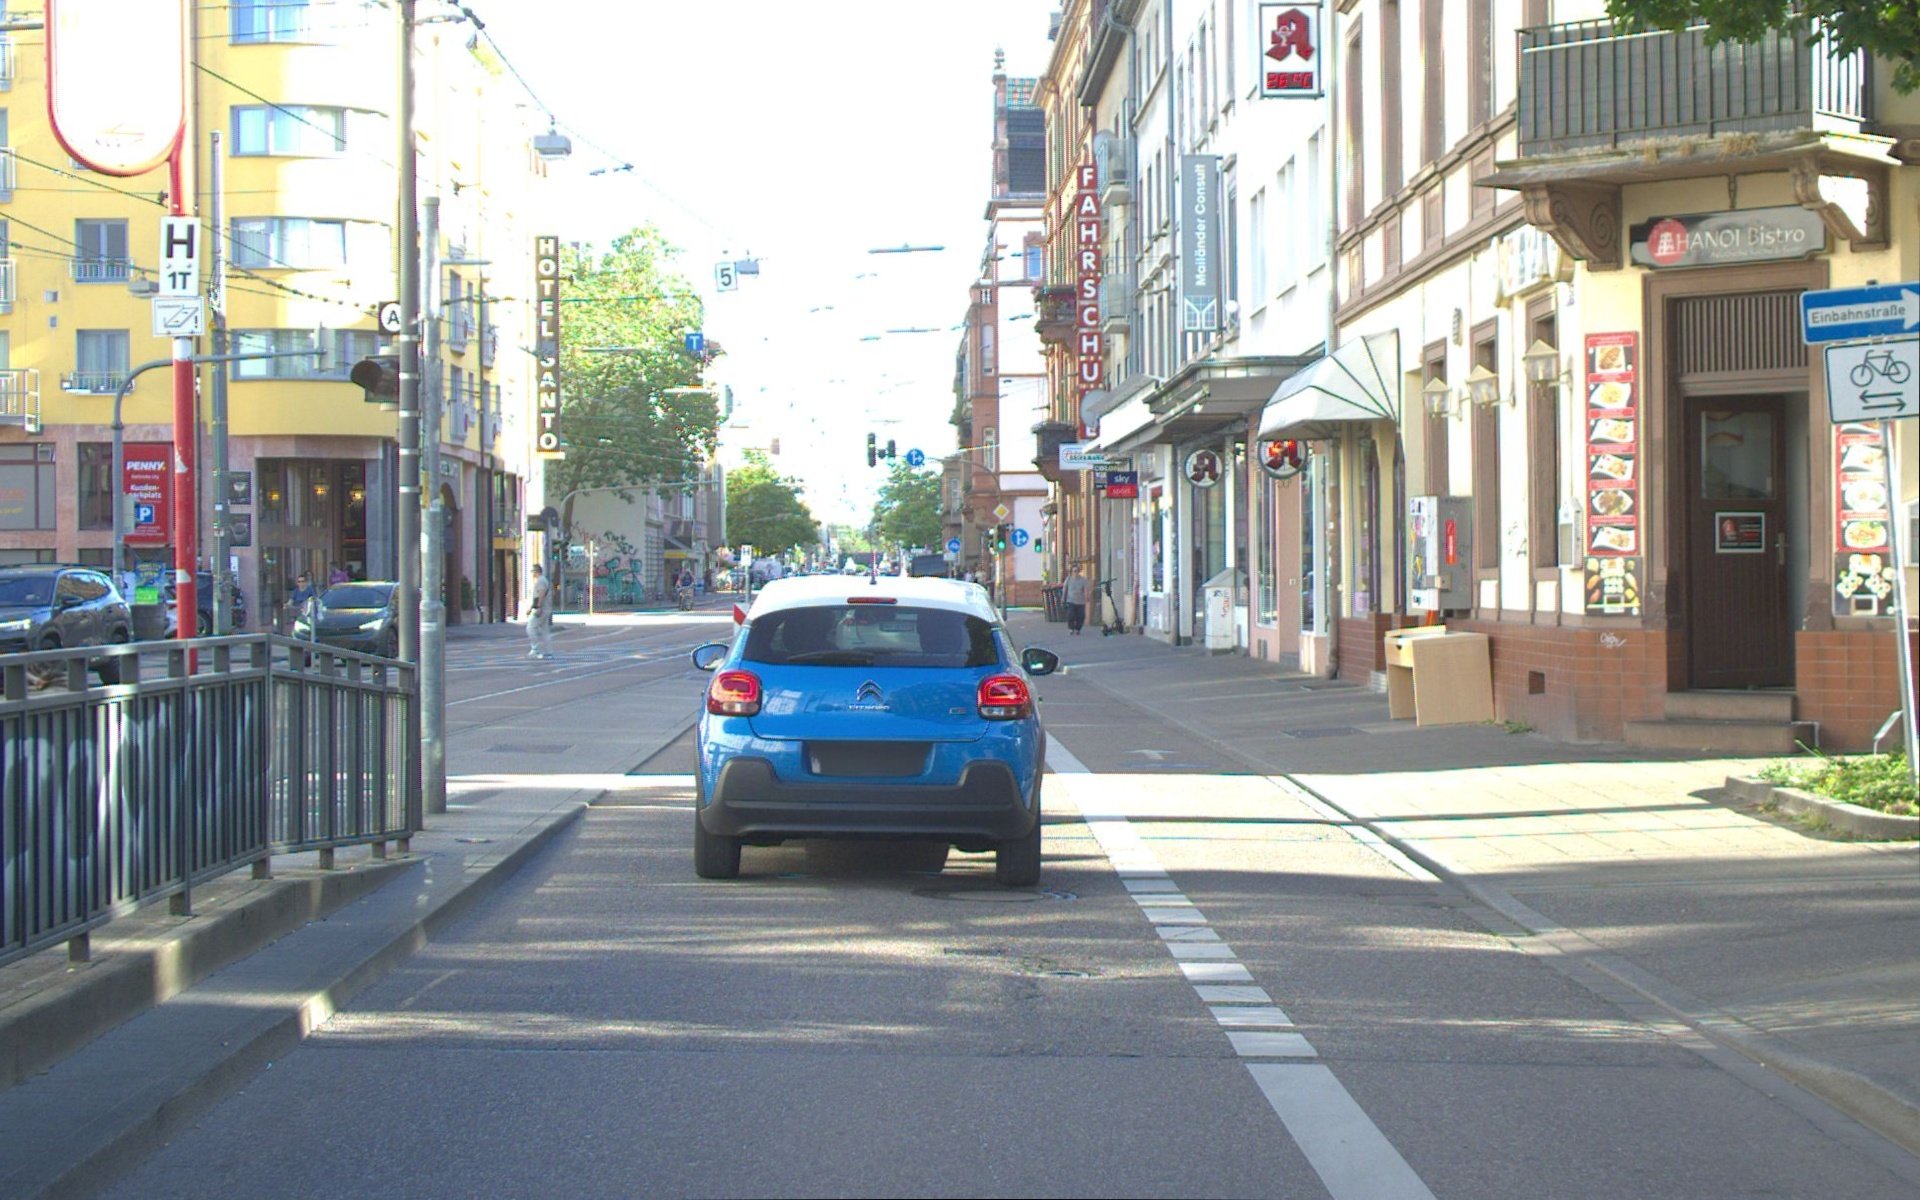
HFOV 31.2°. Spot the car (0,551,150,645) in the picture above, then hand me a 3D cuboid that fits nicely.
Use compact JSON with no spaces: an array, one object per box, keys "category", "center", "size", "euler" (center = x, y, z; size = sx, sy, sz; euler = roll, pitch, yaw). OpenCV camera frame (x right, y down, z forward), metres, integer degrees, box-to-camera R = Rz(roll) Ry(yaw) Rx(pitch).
[{"category":"car","center":[-18.479,-0.047,69.179],"size":[3.986,1.841,1.958],"euler":[0,0,-4]}]

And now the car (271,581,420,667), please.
[{"category":"car","center":[-11.170,0.411,62.742],"size":[1.951,1.481,4.000],"euler":[-1,0,0]}]

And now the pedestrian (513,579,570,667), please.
[{"category":"pedestrian","center":[-7.880,0.427,64.726],"size":[0.838,1.648,0.697],"euler":[0,0,-29]}]

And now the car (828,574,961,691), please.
[{"category":"car","center":[-1.031,0.526,54.908],"size":[1.993,1.737,4.000],"euler":[2,-1,-1]}]

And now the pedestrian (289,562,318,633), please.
[{"category":"pedestrian","center":[-16.799,-0.070,87.939],"size":[0.695,1.823,0.841],"euler":[0,0,-13]}]

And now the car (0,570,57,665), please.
[{"category":"car","center":[-18.354,0.295,61.431],"size":[3.986,1.669,1.958],"euler":[0,0,-4]}]

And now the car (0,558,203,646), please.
[{"category":"car","center":[-18.414,0.031,73.725],"size":[3.986,1.841,1.958],"euler":[0,0,-4]}]

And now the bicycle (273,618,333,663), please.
[{"category":"bicycle","center":[-12.916,0.789,67.646],"size":[0.679,0.824,2.576],"euler":[0,0,0]}]

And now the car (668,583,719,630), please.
[{"category":"car","center":[-12.032,0.306,155.381],"size":[1.993,2.007,4.000],"euler":[2,-1,-1]}]

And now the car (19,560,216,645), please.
[{"category":"car","center":[-18.798,0.052,76.802],"size":[3.986,1.841,1.958],"euler":[0,0,-4]}]

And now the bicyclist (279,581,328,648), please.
[{"category":"bicyclist","center":[-12.917,0.283,67.640],"size":[0.730,1.287,1.180],"euler":[0,0,0]}]

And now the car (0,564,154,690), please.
[{"category":"car","center":[-12.624,0.340,46.827],"size":[1.753,1.610,4.827],"euler":[-1,0,5]}]

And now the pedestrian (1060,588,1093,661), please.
[{"category":"pedestrian","center":[2.631,0.546,77.727],"size":[0.693,1.645,0.680],"euler":[0,0,-2]}]

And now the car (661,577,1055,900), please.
[{"category":"car","center":[-0.494,0.631,17.744],"size":[1.781,1.446,3.654],"euler":[2,0,-1]}]

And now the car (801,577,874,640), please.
[{"category":"car","center":[-3.553,0.264,100.231],"size":[1.993,1.737,4.000],"euler":[2,-1,-1]}]

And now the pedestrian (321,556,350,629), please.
[{"category":"pedestrian","center":[-15.968,-0.187,87.903],"size":[0.695,1.851,0.841],"euler":[0,0,-13]}]
